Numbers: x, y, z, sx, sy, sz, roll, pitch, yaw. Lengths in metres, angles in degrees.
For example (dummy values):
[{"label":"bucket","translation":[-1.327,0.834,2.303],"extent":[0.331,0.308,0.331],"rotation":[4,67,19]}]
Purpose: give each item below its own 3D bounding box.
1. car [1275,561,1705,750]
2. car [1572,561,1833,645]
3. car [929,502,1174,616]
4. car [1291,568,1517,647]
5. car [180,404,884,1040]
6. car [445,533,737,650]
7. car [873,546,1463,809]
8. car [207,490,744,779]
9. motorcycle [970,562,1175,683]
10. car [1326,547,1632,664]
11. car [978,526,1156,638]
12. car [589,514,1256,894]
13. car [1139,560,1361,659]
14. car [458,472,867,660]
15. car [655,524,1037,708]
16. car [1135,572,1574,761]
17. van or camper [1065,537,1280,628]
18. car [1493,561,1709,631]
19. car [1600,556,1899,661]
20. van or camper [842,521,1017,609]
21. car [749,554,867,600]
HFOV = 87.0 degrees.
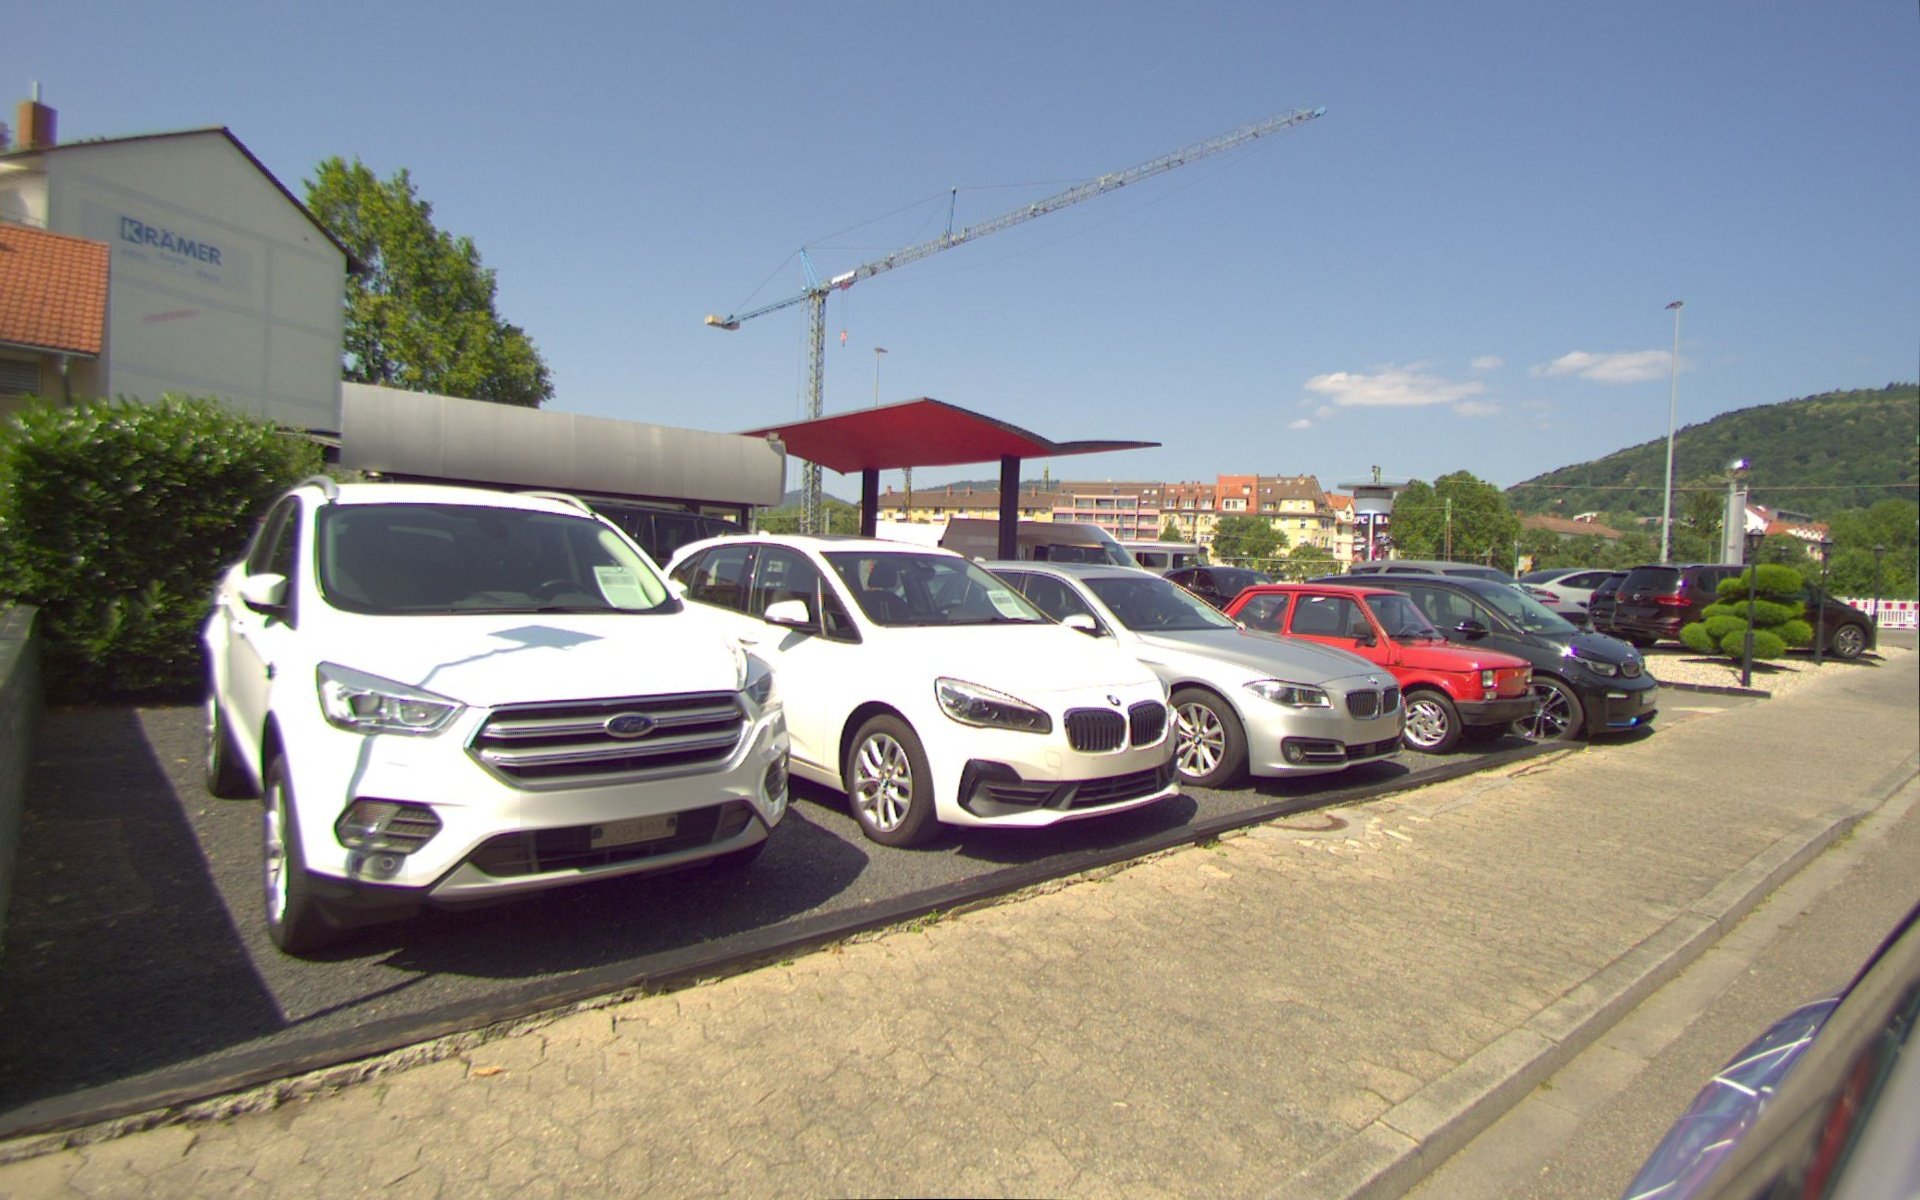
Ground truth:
[{"label":"car","translation":[5.660,0.443,11.174],"extent":[1.729,1.644,3.810],"rotation":[0,3,-41]},{"label":"car","translation":[17.333,0.032,23.780],"extent":[4.721,1.801,2.020],"rotation":[1,2,-5]},{"label":"car","translation":[2.341,-1.137,26.495],"extent":[5.963,2.711,2.238],"rotation":[3,2,28]},{"label":"car","translation":[9.627,0.110,22.257],"extent":[4.139,1.553,1.921],"rotation":[1,2,10]},{"label":"car","translation":[-2.443,0.233,4.917],"extent":[1.812,1.674,4.410],"rotation":[0,2,-42]},{"label":"car","translation":[-5.805,-0.175,16.192],"extent":[1.995,1.615,3.936],"rotation":[4,3,44]},{"label":"car","translation":[1.355,0.359,8.124],"extent":[1.864,1.515,4.412],"rotation":[0,2,-40]},{"label":"car","translation":[-3.976,0.180,8.564],"extent":[3.723,1.883,1.997],"rotation":[-1,1,-41]},{"label":"motorcycle","translation":[1.498,0.247,13.942],"extent":[2.679,1.451,0.996],"rotation":[3,2,40]},{"label":"car","translation":[8.971,0.009,18.127],"extent":[1.884,1.784,5.009],"rotation":[1,2,-16]},{"label":"car","translation":[2.203,-0.472,22.341],"extent":[1.885,2.176,4.589],"rotation":[2,2,-22]},{"label":"car","translation":[-0.586,0.290,6.498],"extent":[1.865,1.546,4.411],"rotation":[-1,5,-42]},{"label":"car","translation":[5.536,0.091,20.035],"extent":[1.884,1.655,4.589],"rotation":[1,2,-19]},{"label":"car","translation":[-3.758,-0.437,13.441],"extent":[4.827,2.038,1.995],"rotation":[0,3,-45]},{"label":"car","translation":[-1.217,0.106,11.656],"extent":[3.930,1.749,1.997],"rotation":[0,2,-41]},{"label":"car","translation":[3.552,0.466,9.588],"extent":[1.532,1.351,3.556],"rotation":[0,3,-41]},{"label":"van or camper","translation":[5.825,-0.529,27.905],"extent":[5.455,2.289,2.092],"rotation":[2,1,28]},{"label":"car","translation":[16.844,-0.115,26.668],"extent":[4.716,1.713,2.022],"rotation":[1,2,-13]},{"label":"car","translation":[14.779,0.123,19.086],"extent":[4.205,1.804,1.855],"rotation":[1,2,-4]},{"label":"van or camper","translation":[-0.911,-1.088,30.553],"extent":[4.874,2.466,1.987],"rotation":[2,2,20]},{"label":"car","translation":[-5.376,-0.823,35.661],"extent":[3.969,1.497,1.728],"rotation":[1,2,-11]}]
